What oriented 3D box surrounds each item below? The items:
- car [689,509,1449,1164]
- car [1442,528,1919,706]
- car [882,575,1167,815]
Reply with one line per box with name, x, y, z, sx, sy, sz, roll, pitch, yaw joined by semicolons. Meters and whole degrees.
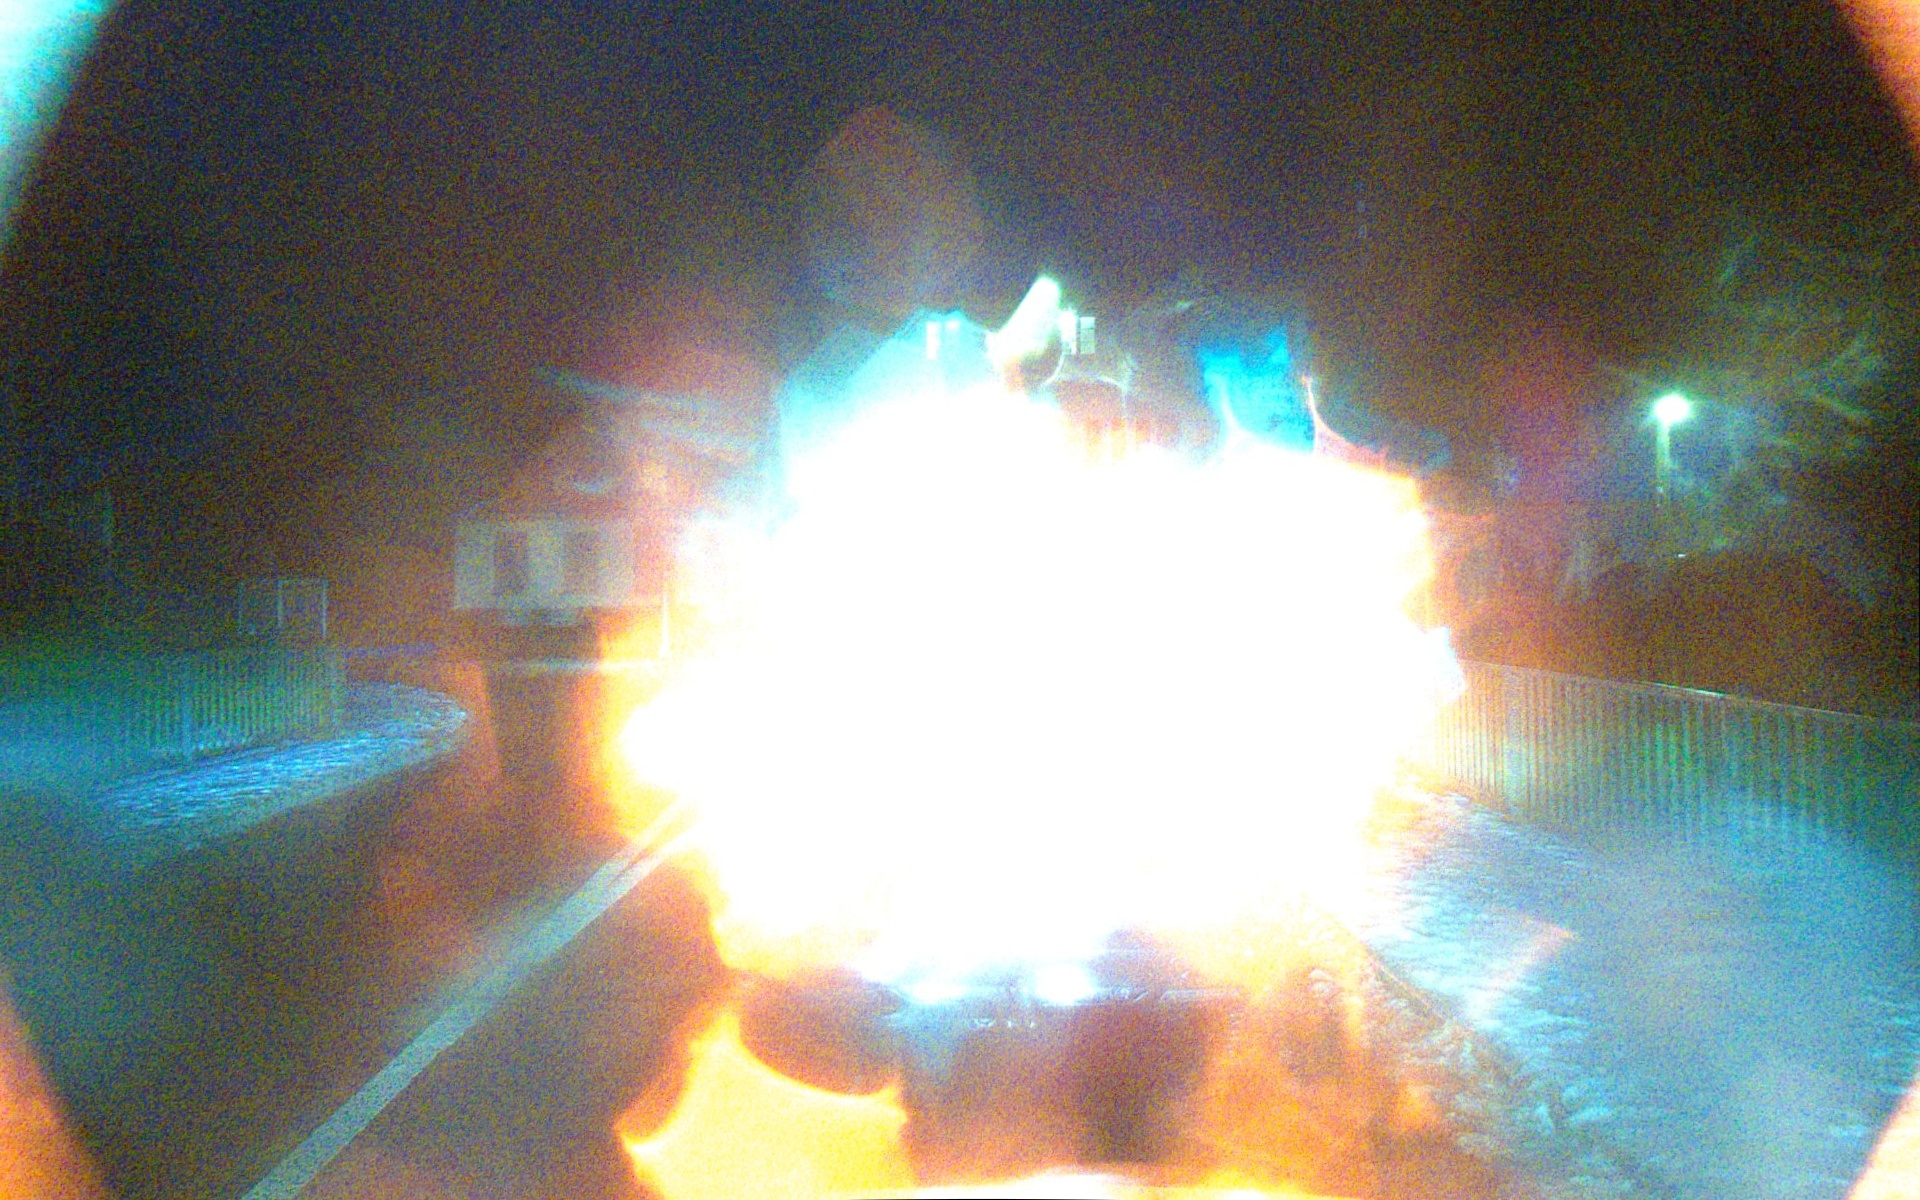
car;0.270;0.631;6.539;2.016;1.707;4.138;-1;0;-1
car;7.667;0.170;18.043;4.372;1.613;1.941;-3;1;10
car;0.432;0.615;13.338;1.871;1.536;4.241;-3;1;0
